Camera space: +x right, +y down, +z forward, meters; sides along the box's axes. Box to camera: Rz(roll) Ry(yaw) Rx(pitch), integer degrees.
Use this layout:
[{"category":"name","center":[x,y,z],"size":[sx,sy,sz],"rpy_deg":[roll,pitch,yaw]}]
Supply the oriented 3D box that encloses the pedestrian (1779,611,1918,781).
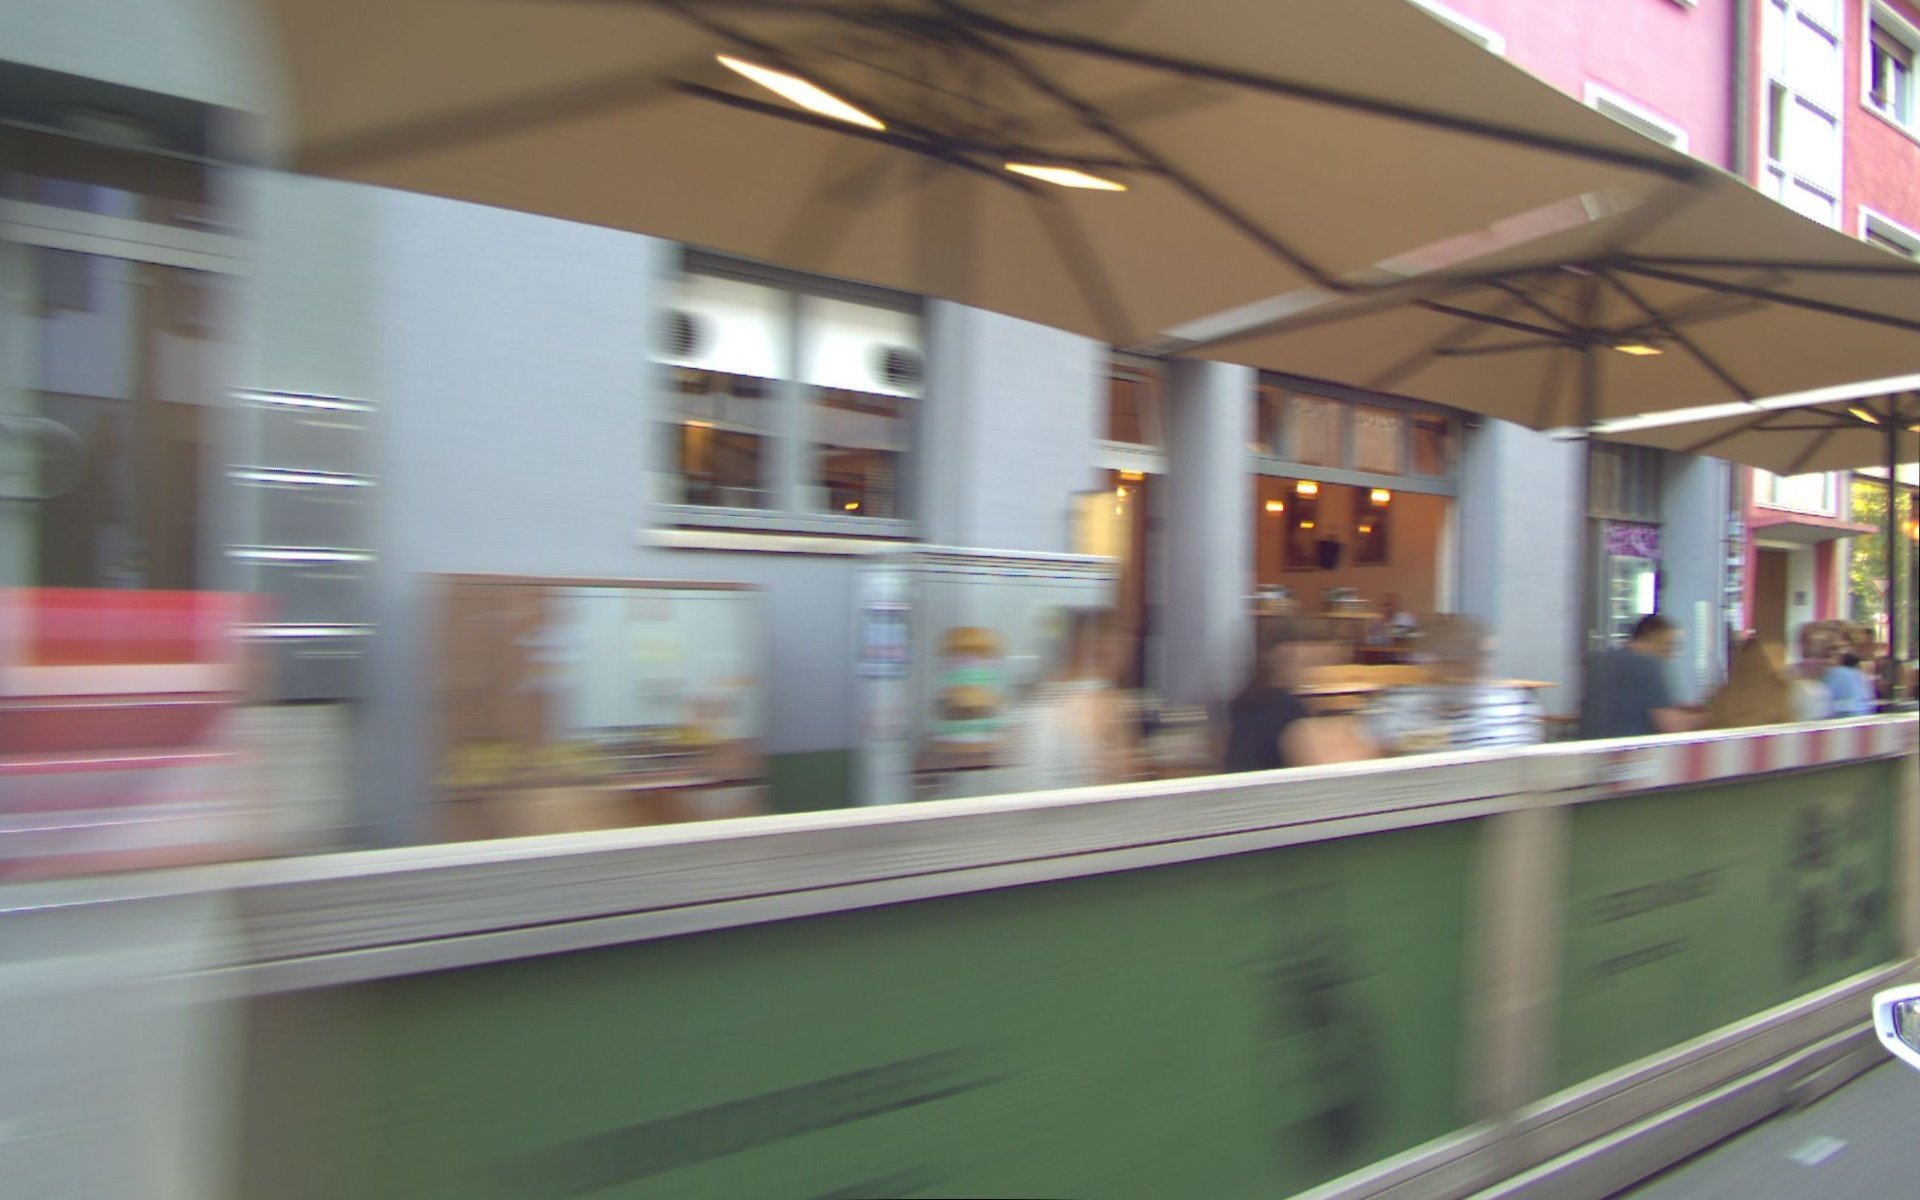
[{"category":"pedestrian","center":[6.070,0.627,6.868],"size":[0.542,1.077,0.605],"rpy_deg":[2,0,-38]}]

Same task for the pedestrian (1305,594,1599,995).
[{"category":"pedestrian","center":[1.531,0.533,3.147],"size":[0.555,1.081,0.627],"rpy_deg":[2,0,-38]}]

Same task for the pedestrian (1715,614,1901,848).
[{"category":"pedestrian","center":[4.292,0.621,5.091],"size":[0.542,1.077,0.605],"rpy_deg":[2,0,-38]}]

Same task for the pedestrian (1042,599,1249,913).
[{"category":"pedestrian","center":[0.684,0.531,3.747],"size":[0.488,1.051,0.553],"rpy_deg":[2,0,-38]}]

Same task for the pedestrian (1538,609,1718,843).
[{"category":"pedestrian","center":[3.372,0.593,5.078],"size":[0.542,1.077,0.596],"rpy_deg":[2,0,-38]}]

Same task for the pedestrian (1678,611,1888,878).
[{"category":"pedestrian","center":[3.688,0.600,4.511],"size":[0.542,1.077,0.605],"rpy_deg":[2,0,-38]}]

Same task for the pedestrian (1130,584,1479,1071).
[{"category":"pedestrian","center":[0.895,0.507,2.657],"size":[0.542,1.077,0.666],"rpy_deg":[2,0,-38]}]

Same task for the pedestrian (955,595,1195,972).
[{"category":"pedestrian","center":[0.356,0.518,3.181],"size":[0.488,1.051,0.553],"rpy_deg":[2,0,-38]}]

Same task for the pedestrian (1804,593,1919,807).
[{"category":"pedestrian","center":[6.731,0.707,7.438],"size":[0.542,1.492,0.605],"rpy_deg":[2,0,-38]}]
